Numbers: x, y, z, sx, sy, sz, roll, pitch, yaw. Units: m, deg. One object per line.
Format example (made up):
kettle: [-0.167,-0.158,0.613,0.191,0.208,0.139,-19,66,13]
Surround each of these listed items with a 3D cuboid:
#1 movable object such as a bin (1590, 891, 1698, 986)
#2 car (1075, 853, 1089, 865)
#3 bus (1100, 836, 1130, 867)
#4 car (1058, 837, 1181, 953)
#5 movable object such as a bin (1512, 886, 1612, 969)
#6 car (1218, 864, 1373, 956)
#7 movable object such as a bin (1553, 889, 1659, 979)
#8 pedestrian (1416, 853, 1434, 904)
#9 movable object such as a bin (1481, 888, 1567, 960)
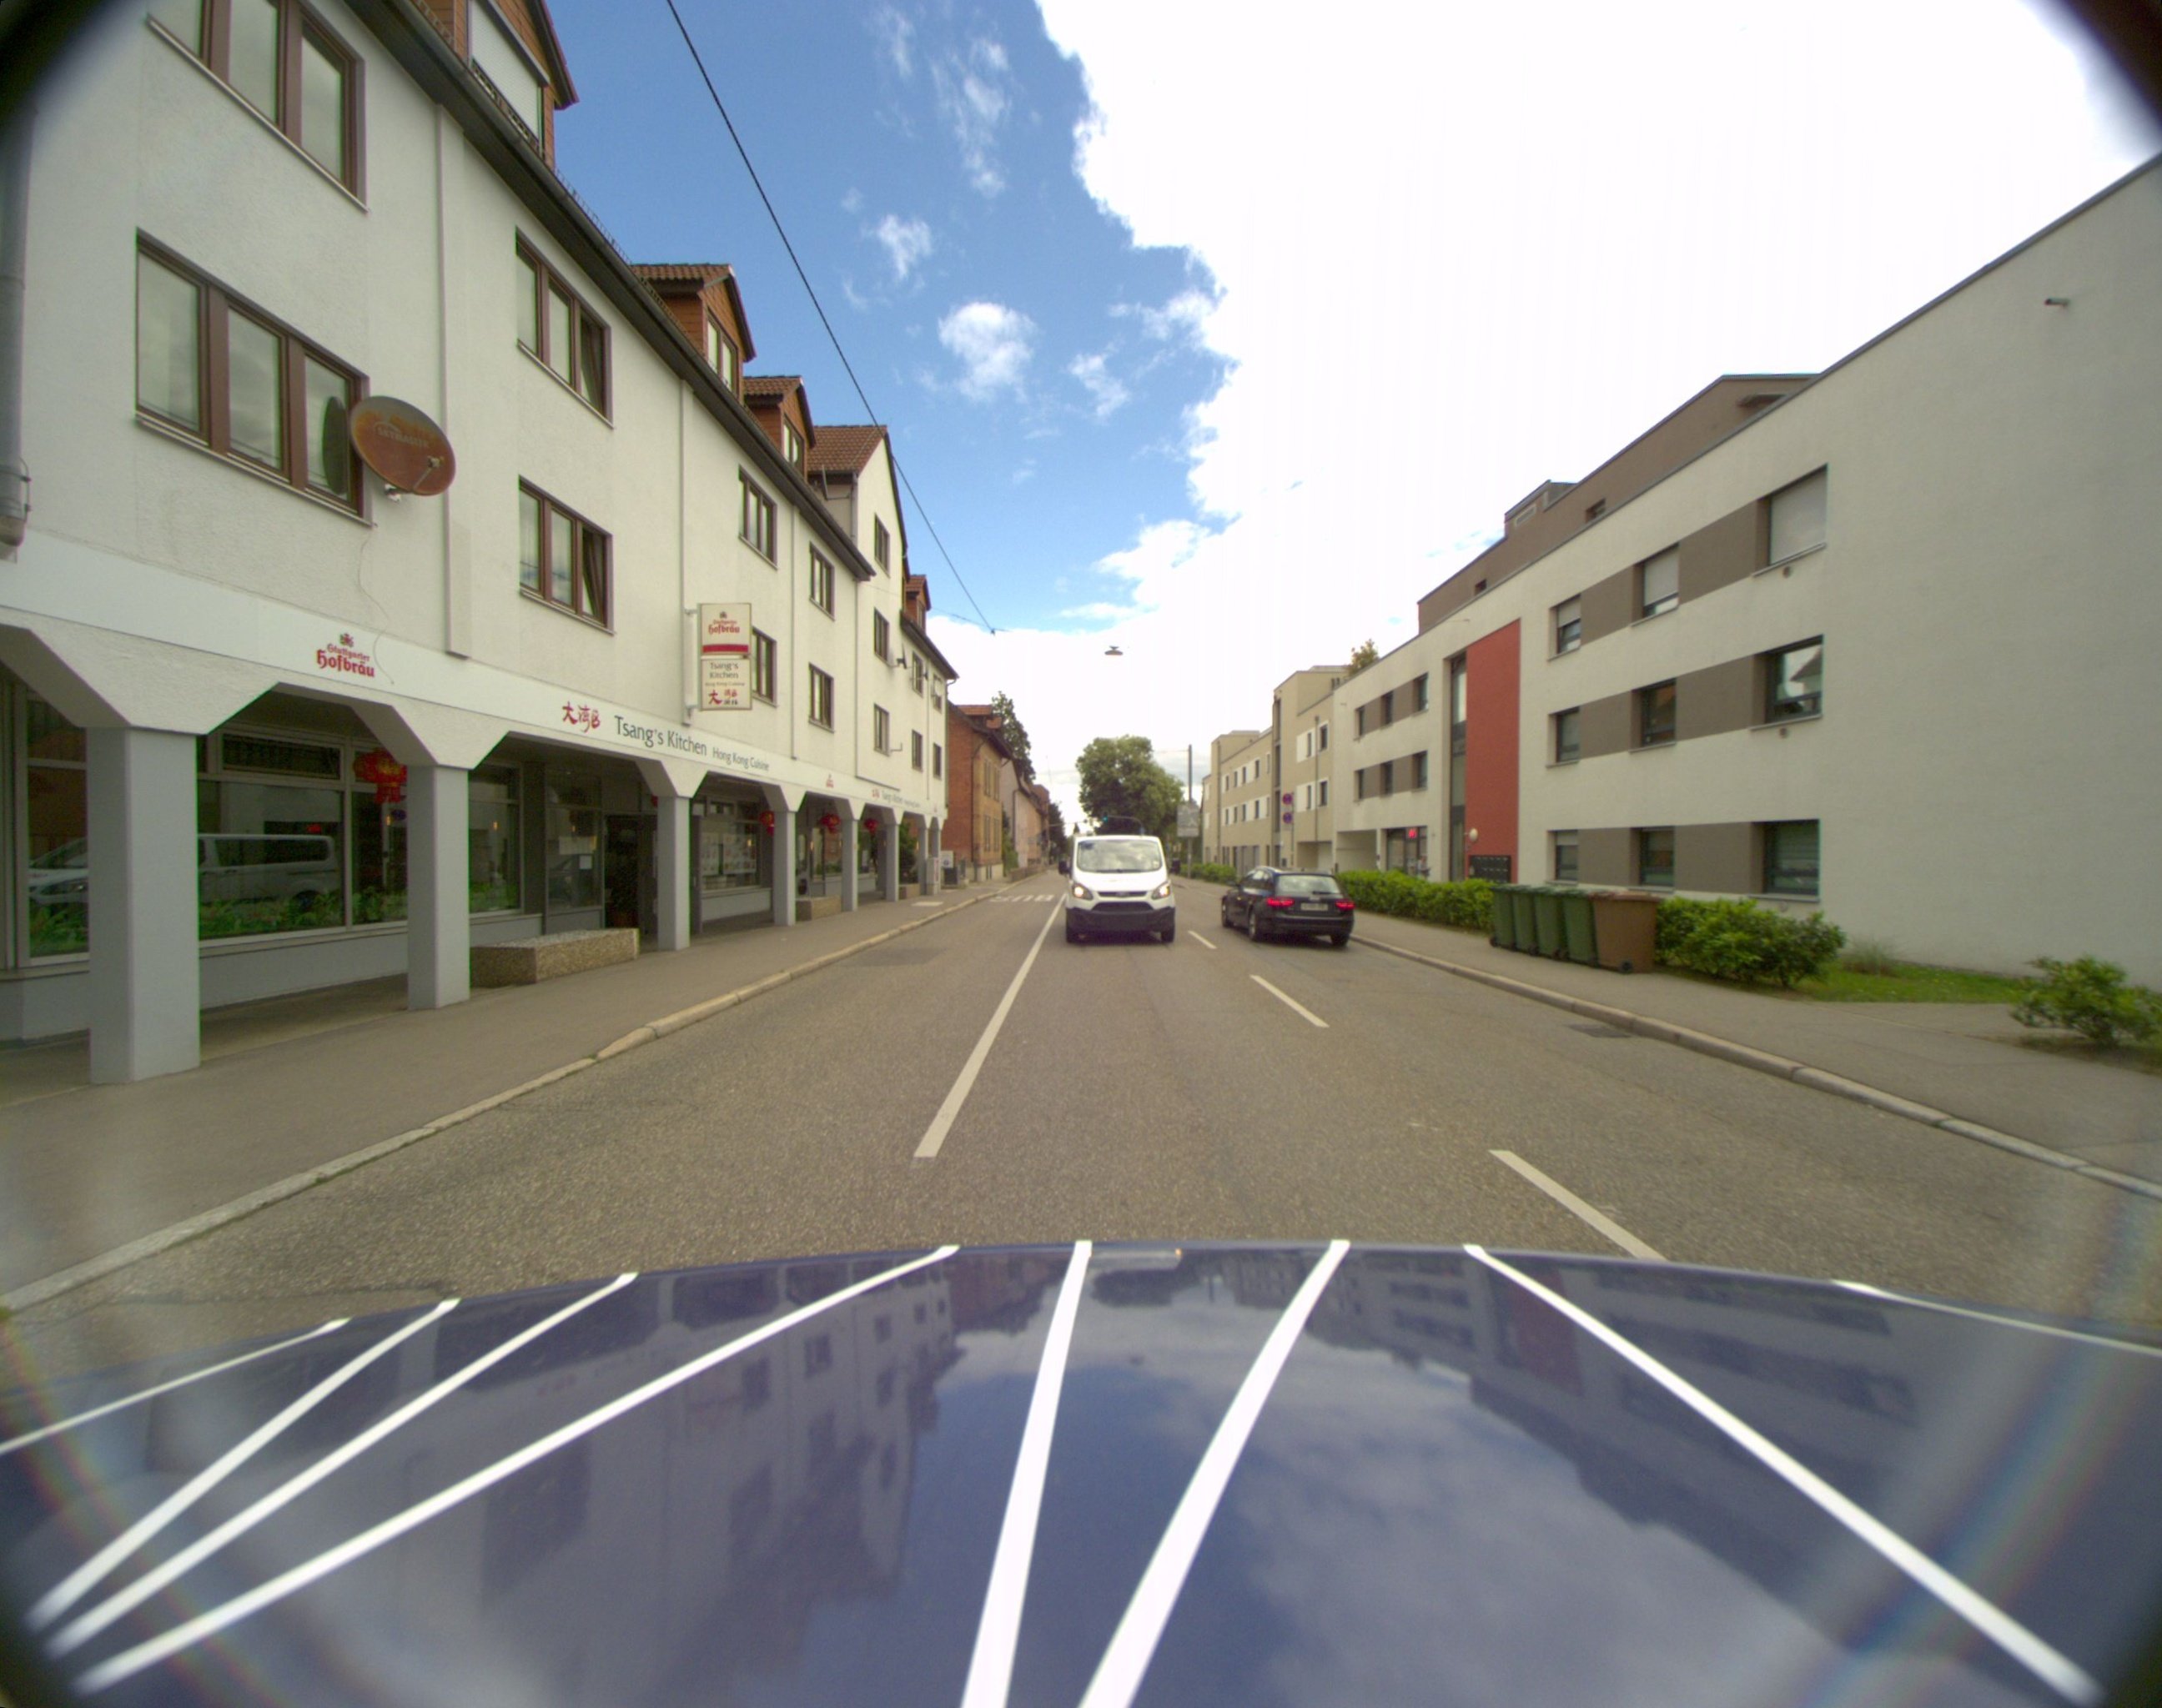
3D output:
movable object such as a bin: [7.238,1.067,9.796,0.943,1.144,0.612,0,1,-4]
car: [0.082,0.681,99.186,1.755,1.485,3.985,0,0,0]
bus: [3.794,-0.256,86.671,2.950,3.255,12.008,1,0,1]
car: [0.649,0.678,15.364,2.062,1.945,5.060,0,0,0]
movable object such as a bin: [7.170,1.074,11.368,0.959,1.144,0.840,0,1,-4]
car: [4.081,1.000,15.251,1.883,1.442,4.213,2,0,0]
movable object such as a bin: [7.235,1.085,10.504,0.951,1.144,0.749,0,1,-4]
pedestrian: [11.207,0.778,24.795,0.519,1.633,0.641,0,1,23]
movable object such as a bin: [7.101,1.102,12.213,0.897,1.082,0.792,0,1,-4]
